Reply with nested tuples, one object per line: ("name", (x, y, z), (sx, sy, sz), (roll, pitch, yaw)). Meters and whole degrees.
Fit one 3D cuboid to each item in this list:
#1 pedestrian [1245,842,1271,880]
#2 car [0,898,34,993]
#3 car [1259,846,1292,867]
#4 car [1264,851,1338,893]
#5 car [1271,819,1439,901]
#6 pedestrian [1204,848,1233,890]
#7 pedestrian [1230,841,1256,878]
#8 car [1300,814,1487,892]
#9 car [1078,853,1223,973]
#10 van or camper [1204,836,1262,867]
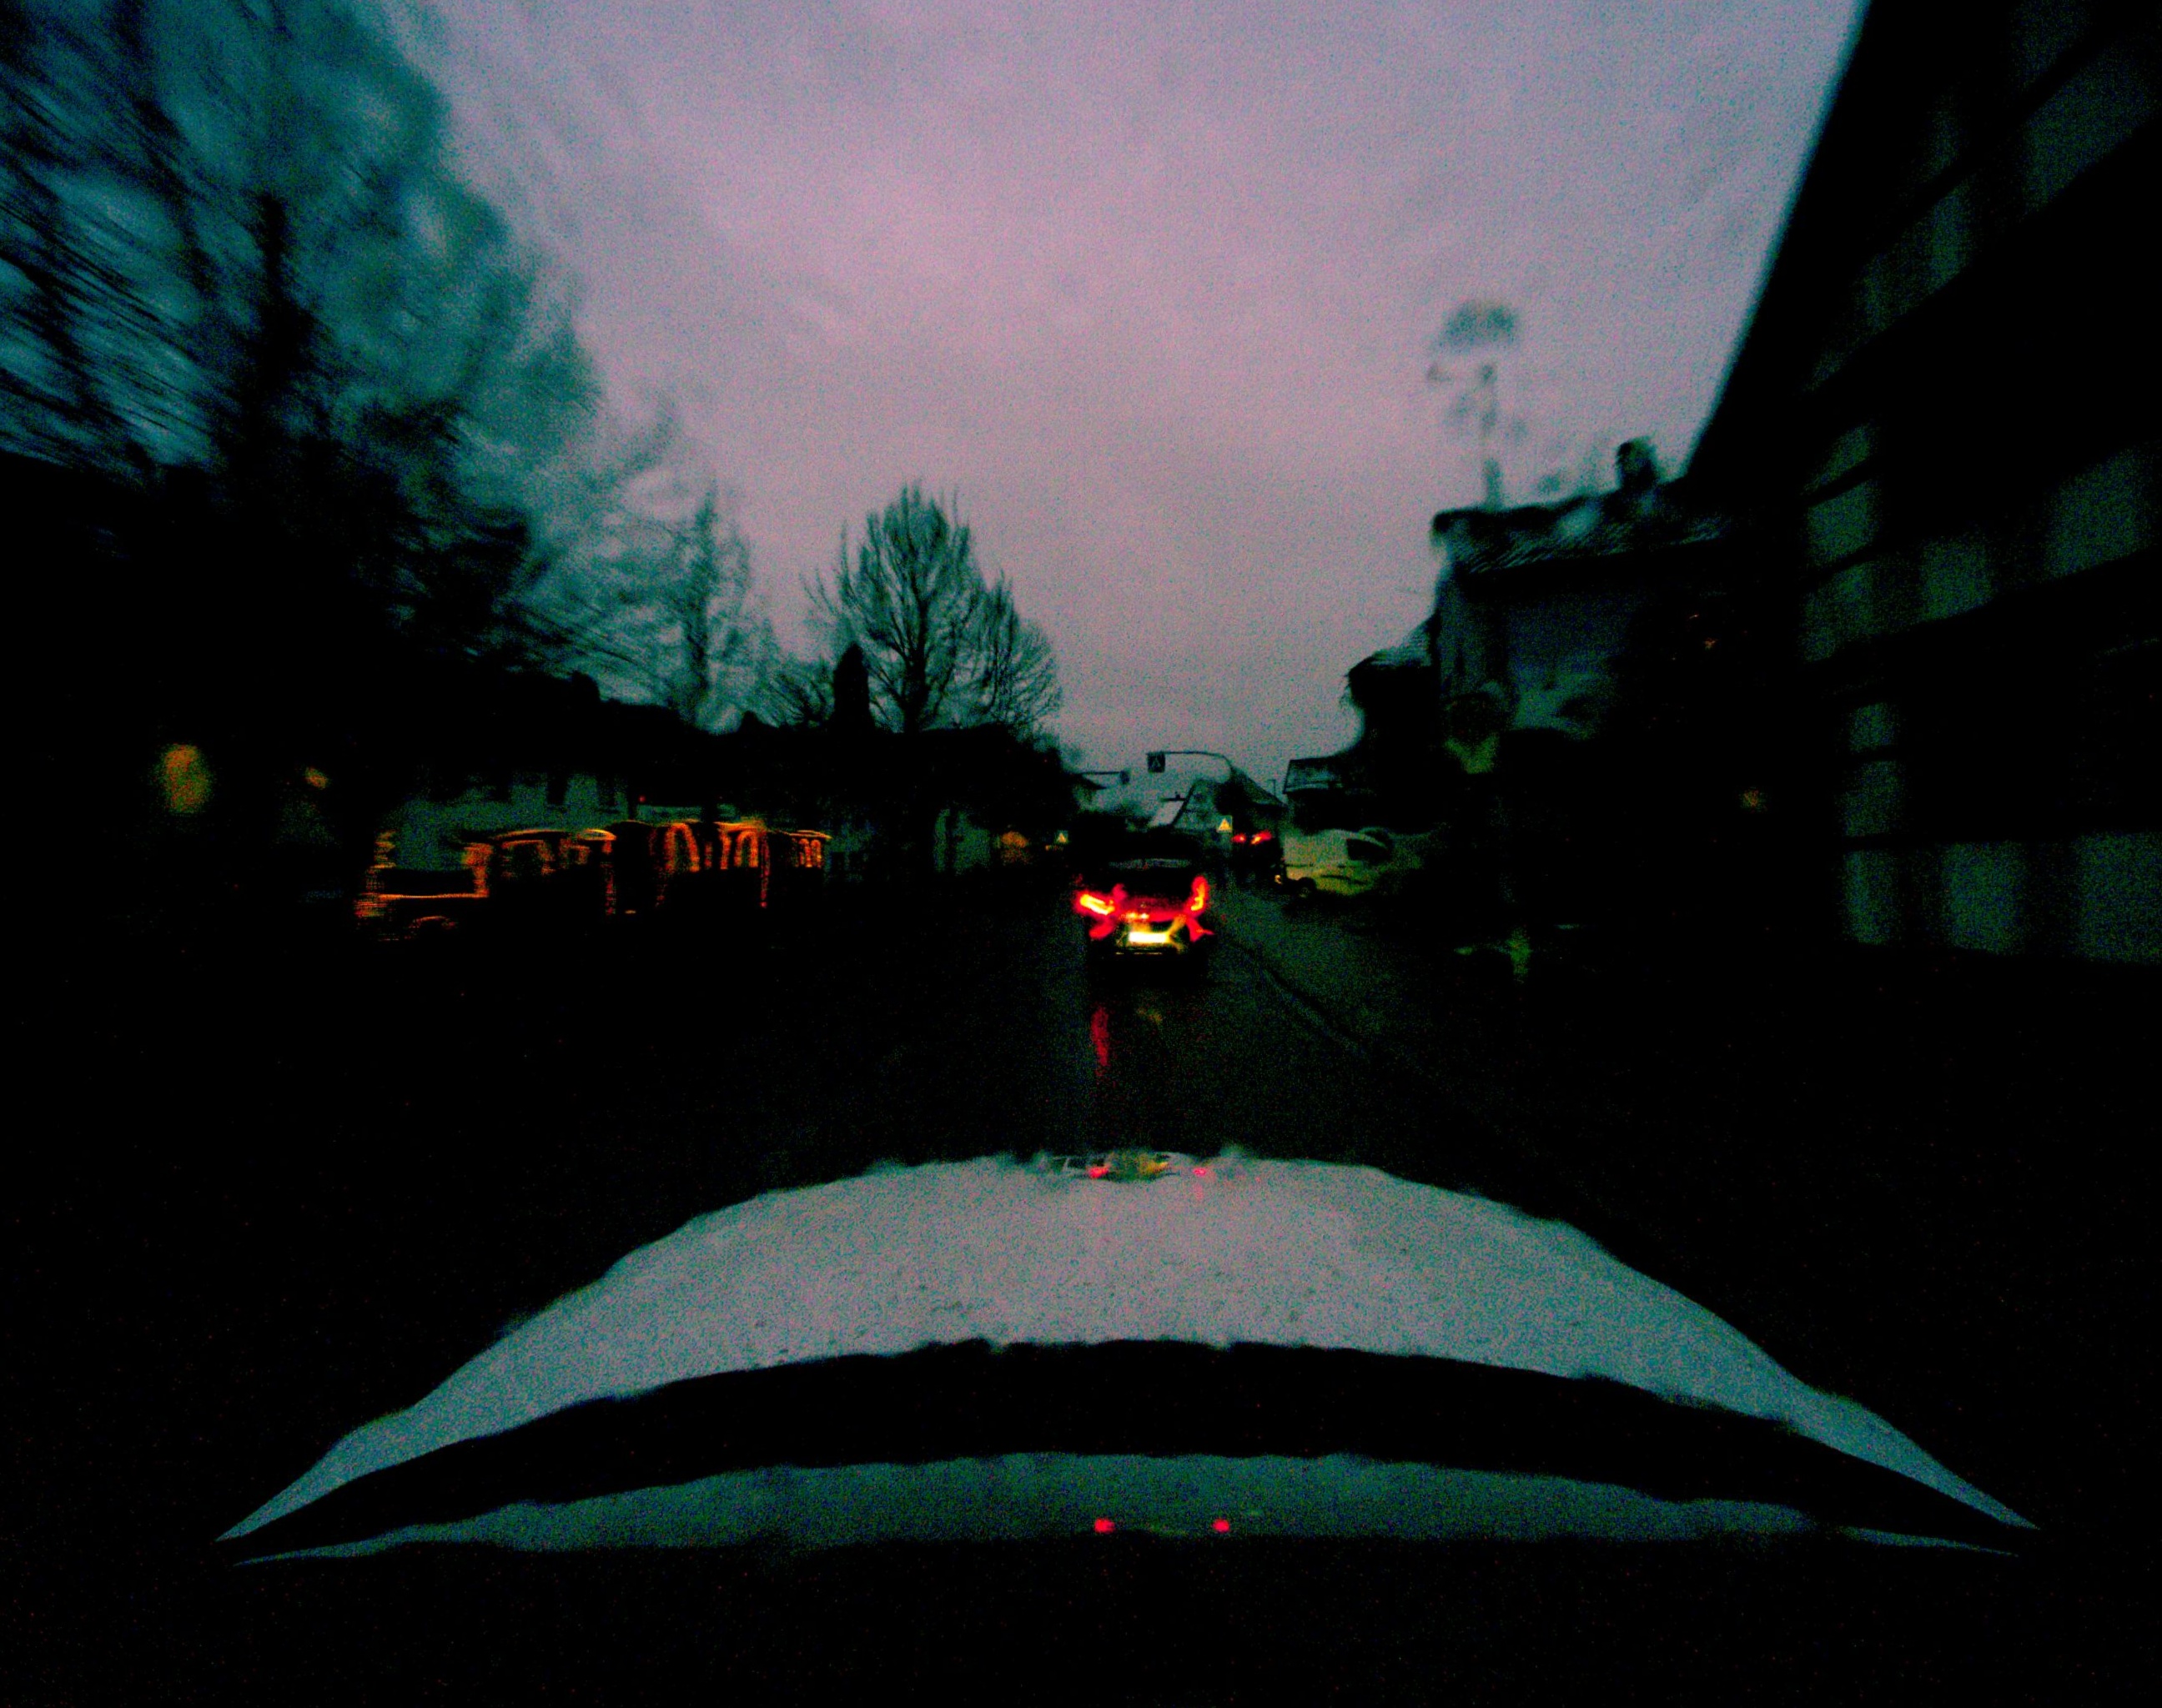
("pedestrian", (8.492, 0.318, 39.050), (0.840, 1.733, 0.977), (-6, -1, 24))
("car", (-17.351, 1.400, 12.279), (3.283, 1.329, 1.625), (-1, 0, 33))
("car", (16.107, 0.165, 67.344), (1.831, 1.637, 4.360), (-1, 0, 24))
("car", (8.886, 0.727, 32.851), (2.742, 1.474, 1.433), (-4, -1, 16))
("car", (7.290, 0.179, 22.078), (4.016, 1.843, 1.869), (-4, -1, 11))
("pedestrian", (5.951, 0.639, 35.199), (0.872, 1.735, 0.961), (-6, -1, 24))
("pedestrian", (7.827, 0.270, 39.317), (0.859, 1.667, 0.997), (-6, -1, 24))
("car", (9.200, -0.003, 24.432), (4.943, 1.889, 1.945), (-4, 0, 15))
("car", (1.001, 0.740, 12.269), (1.787, 1.476, 4.004), (-1, 0, 3))
("van or camper", (17.728, -0.289, 95.173), (6.001, 2.955, 2.421), (-6, -2, 31))
